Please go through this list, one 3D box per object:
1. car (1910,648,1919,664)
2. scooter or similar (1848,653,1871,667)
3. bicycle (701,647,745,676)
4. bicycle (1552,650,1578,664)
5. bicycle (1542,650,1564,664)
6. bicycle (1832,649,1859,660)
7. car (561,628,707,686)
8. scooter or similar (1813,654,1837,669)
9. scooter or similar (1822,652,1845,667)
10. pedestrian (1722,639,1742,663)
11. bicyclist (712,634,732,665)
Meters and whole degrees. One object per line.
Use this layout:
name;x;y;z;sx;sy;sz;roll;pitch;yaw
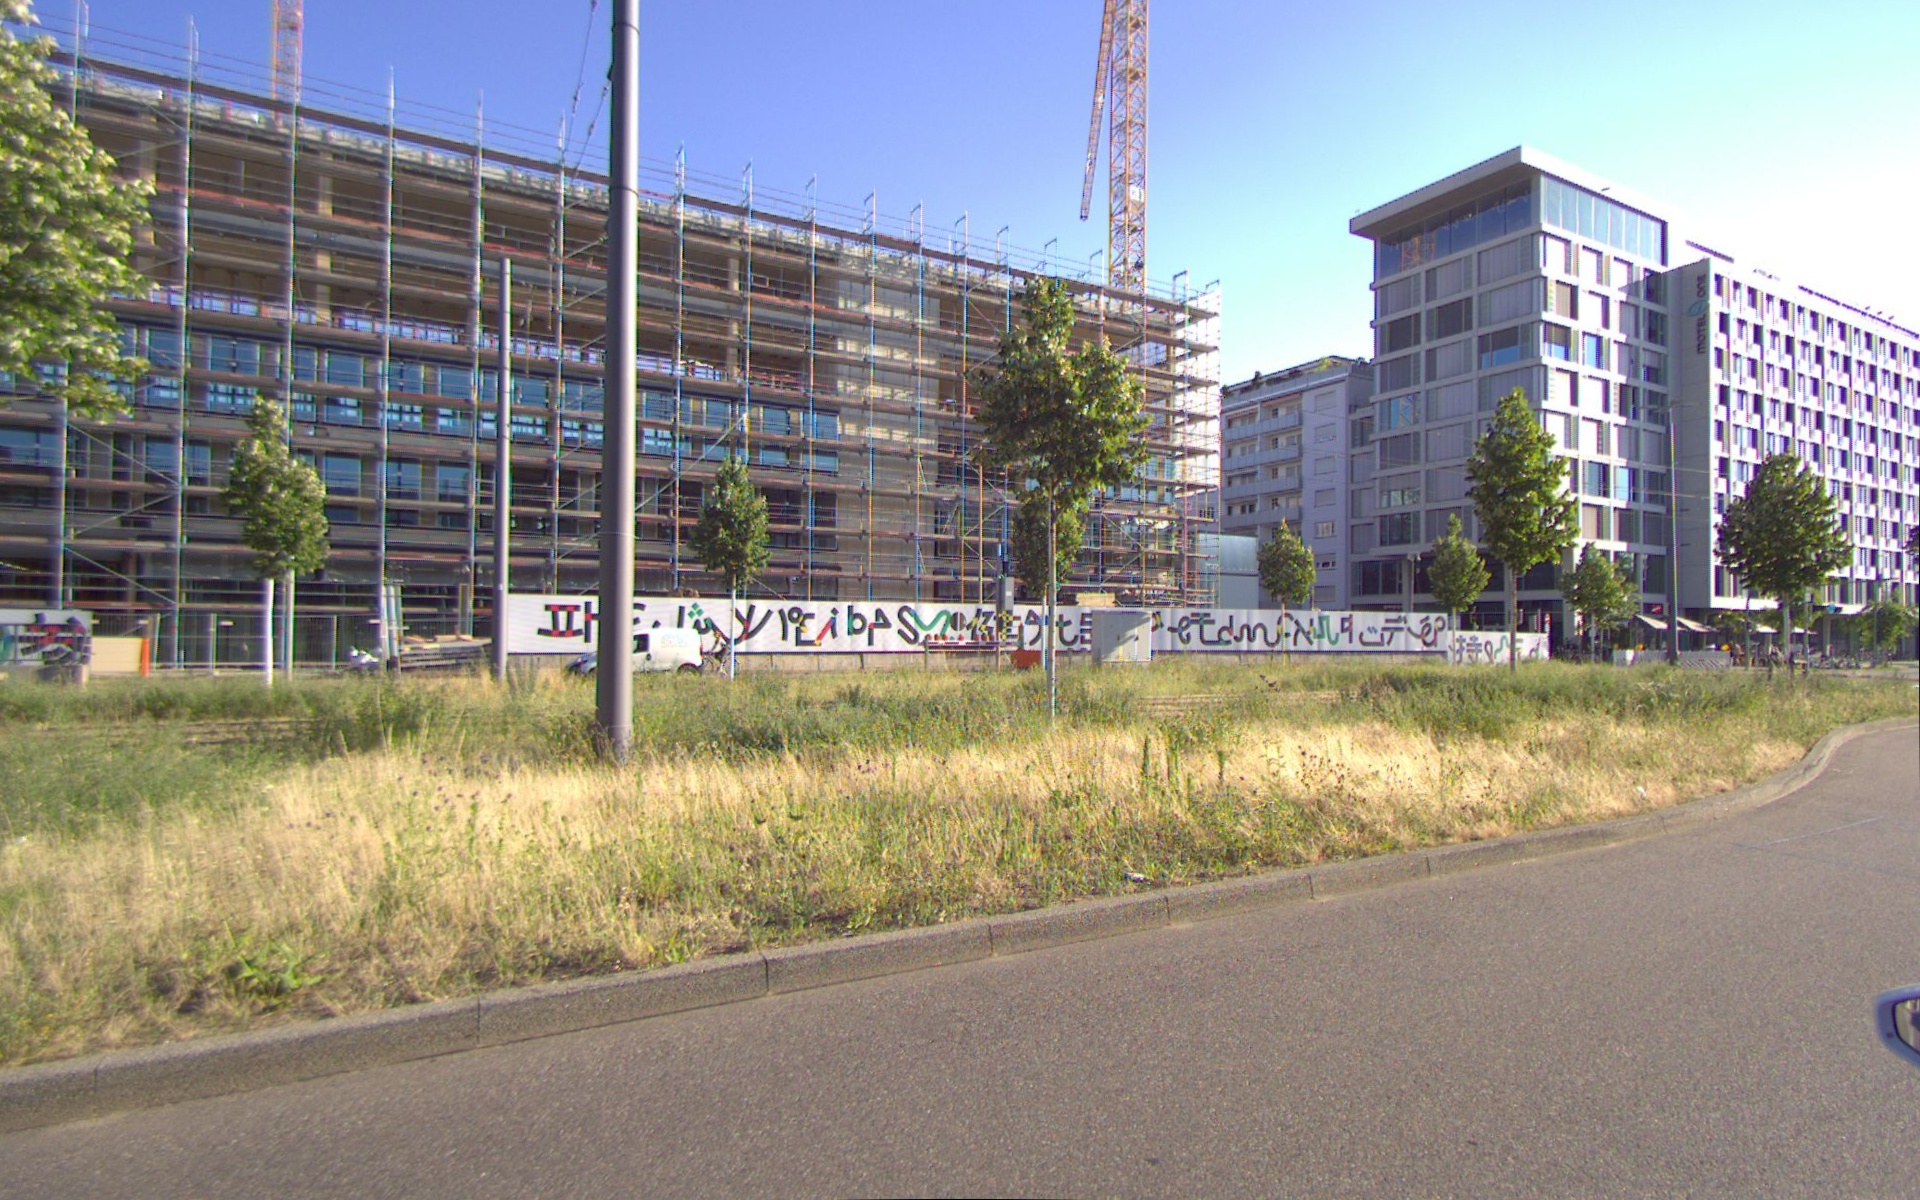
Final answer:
car;81.539;4.719;84.166;3.952;1.345;1.749;2;-1;-30
scooter or similar;68.502;4.539;76.485;0.429;1.032;1.238;2;-2;-28
bicycle;-9.013;2.333;38.147;1.546;1.075;0.476;2;-2;-30
bicycle;42.735;4.018;70.958;2.191;0.948;0.615;2;-2;-31
bicycle;42.312;4.071;71.709;1.879;0.948;0.533;2;-2;-31
bicycle;81.678;5.011;92.694;0.507;0.917;1.792;2;-2;-35
car;-9.432;1.618;29.126;3.796;1.578;1.597;2;-2;-30
scooter or similar;63.294;4.476;73.508;0.504;1.032;1.238;2;-2;-28
scooter or similar;64.586;4.411;74.293;0.429;1.032;1.238;2;-2;-28
pedestrian;56.307;3.712;73.294;0.791;1.744;0.868;1;-1;-20
bicyclist;-9.053;1.883;38.153;0.631;1.169;0.476;1;-2;-30
